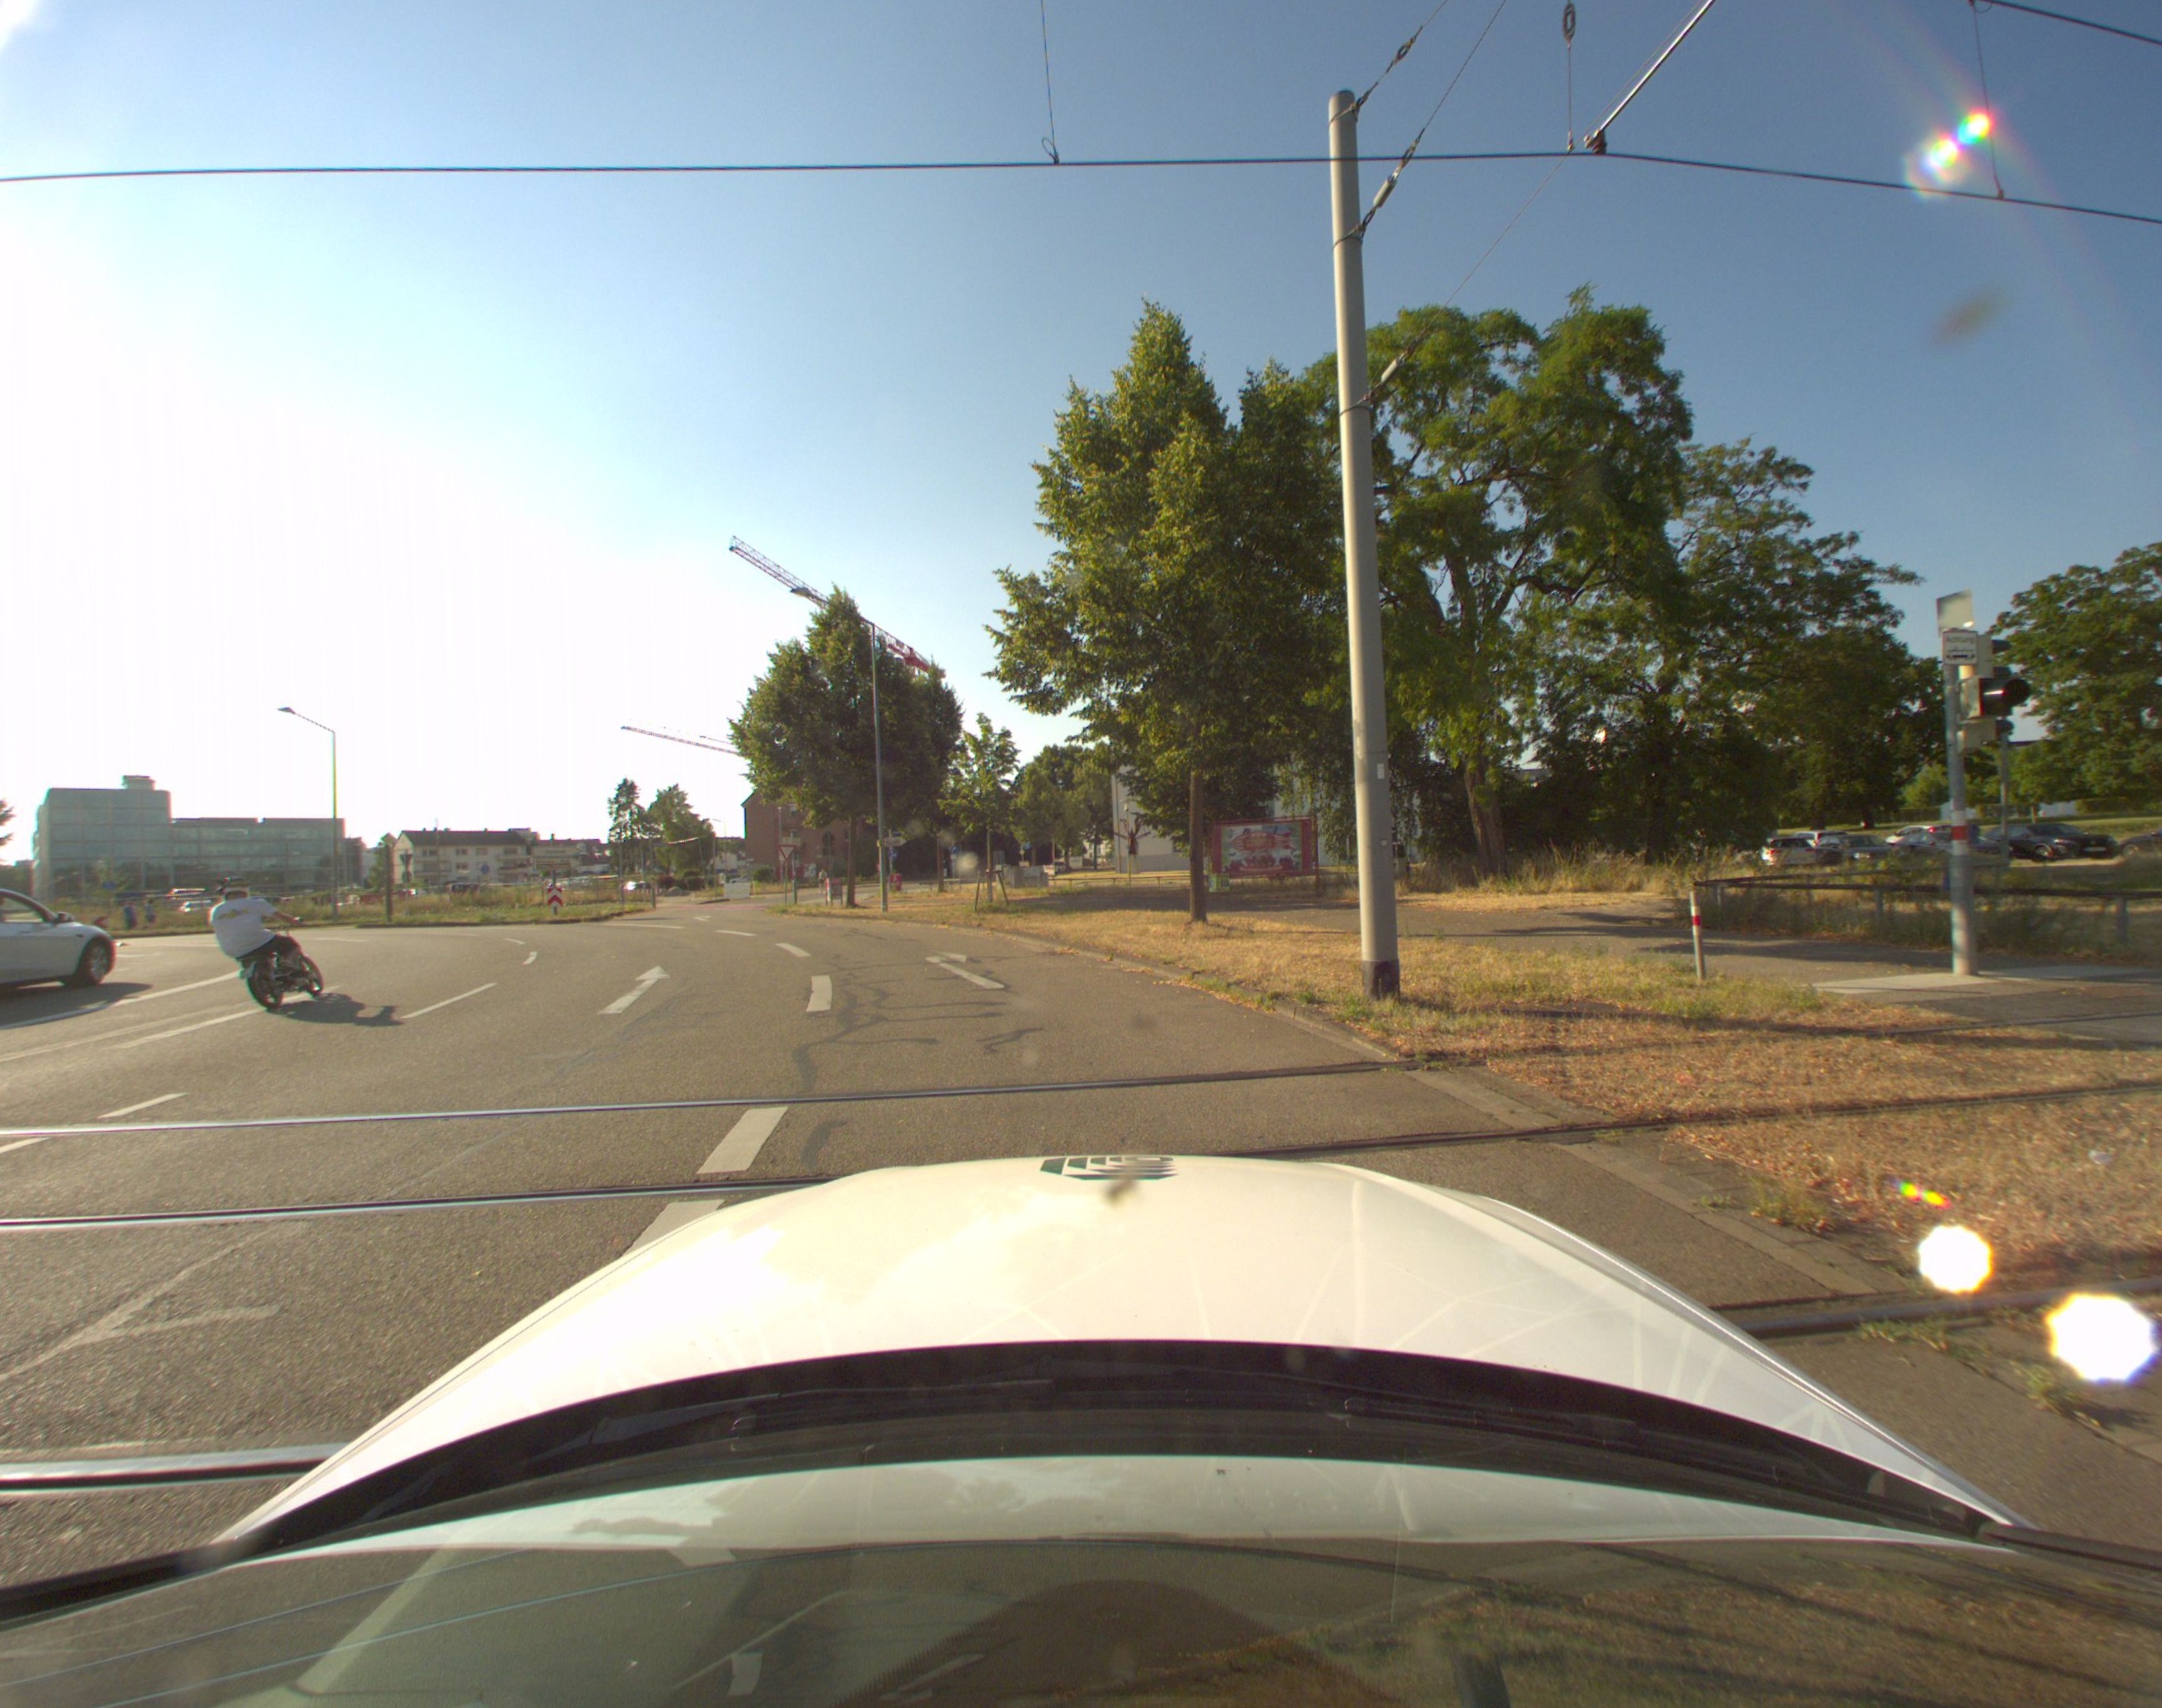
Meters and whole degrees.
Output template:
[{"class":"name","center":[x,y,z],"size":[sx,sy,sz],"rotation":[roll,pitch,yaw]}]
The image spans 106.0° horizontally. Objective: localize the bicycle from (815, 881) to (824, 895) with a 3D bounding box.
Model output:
[{"class":"bicycle","center":[-19.137,2.478,59.605],"size":[0.598,0.963,2.092],"rotation":[-2,-1,-18]}]

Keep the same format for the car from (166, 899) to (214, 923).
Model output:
[{"class":"car","center":[-82.805,5.294,75.683],"size":[3.949,2.013,2.012],"rotation":[-3,0,27]}]

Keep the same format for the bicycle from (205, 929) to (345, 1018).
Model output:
[{"class":"bicycle","center":[-10.150,1.463,10.334],"size":[0.479,0.876,1.844],"rotation":[-2,-1,-18]}]

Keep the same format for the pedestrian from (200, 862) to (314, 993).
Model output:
[{"class":"pedestrian","center":[-10.196,0.872,10.113],"size":[0.658,1.519,0.848],"rotation":[-2,0,-21]}]

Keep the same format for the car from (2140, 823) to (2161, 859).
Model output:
[{"class":"car","center":[39.588,-0.522,28.262],"size":[1.587,1.310,3.990],"rotation":[-3,-1,22]}]

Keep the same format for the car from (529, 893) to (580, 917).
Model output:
[{"class":"car","center":[-48.397,4.693,74.827],"size":[3.783,2.014,1.677],"rotation":[-3,-1,12]}]

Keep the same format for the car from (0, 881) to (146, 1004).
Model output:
[{"class":"car","center":[-15.459,1.223,11.078],"size":[1.742,1.599,4.640],"rotation":[-1,-1,-23]}]

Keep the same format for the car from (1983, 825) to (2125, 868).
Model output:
[{"class":"car","center":[35.327,-0.249,29.723],"size":[1.587,1.402,3.990],"rotation":[-3,-1,22]}]

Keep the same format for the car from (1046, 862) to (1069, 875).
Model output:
[{"class":"car","center":[-3.043,1.868,105.522],"size":[1.569,1.442,3.571],"rotation":[-3,-1,21]}]

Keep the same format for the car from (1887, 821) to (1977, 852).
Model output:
[{"class":"car","center":[42.775,-0.820,41.050],"size":[1.587,1.402,3.990],"rotation":[-3,-1,22]}]

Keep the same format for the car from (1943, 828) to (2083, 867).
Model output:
[{"class":"car","center":[32.812,-0.209,28.841],"size":[1.587,1.221,3.990],"rotation":[-3,-1,22]}]

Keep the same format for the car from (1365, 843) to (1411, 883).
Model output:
[{"class":"car","center":[13.766,0.396,36.446],"size":[1.756,1.618,3.990],"rotation":[-3,-1,22]}]

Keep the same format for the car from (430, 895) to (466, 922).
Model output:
[{"class":"car","center":[-48.685,4.142,62.681],"size":[1.934,1.854,3.957],"rotation":[-2,0,-35]}]

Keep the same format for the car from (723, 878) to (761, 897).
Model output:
[{"class":"car","center":[-40.192,3.941,96.464],"size":[3.783,2.014,1.677],"rotation":[-3,-1,12]}]

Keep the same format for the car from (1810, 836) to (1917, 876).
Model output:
[{"class":"car","center":[30.312,0.071,31.700],"size":[1.587,1.402,3.990],"rotation":[-3,-1,22]}]

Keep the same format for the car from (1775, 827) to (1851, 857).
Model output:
[{"class":"car","center":[37.672,-0.574,42.011],"size":[1.587,1.402,3.990],"rotation":[-3,-1,22]}]

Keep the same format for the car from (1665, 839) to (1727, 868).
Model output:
[{"class":"car","center":[32.652,-0.014,43.340],"size":[1.587,1.402,3.990],"rotation":[-3,-1,22]}]

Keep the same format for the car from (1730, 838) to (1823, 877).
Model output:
[{"class":"car","center":[27.726,0.123,32.625],"size":[1.587,1.402,3.990],"rotation":[-3,-1,22]}]

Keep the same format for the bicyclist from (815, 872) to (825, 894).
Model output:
[{"class":"bicyclist","center":[-19.159,2.141,59.800],"size":[0.660,1.562,0.888],"rotation":[-2,-1,-19]}]
